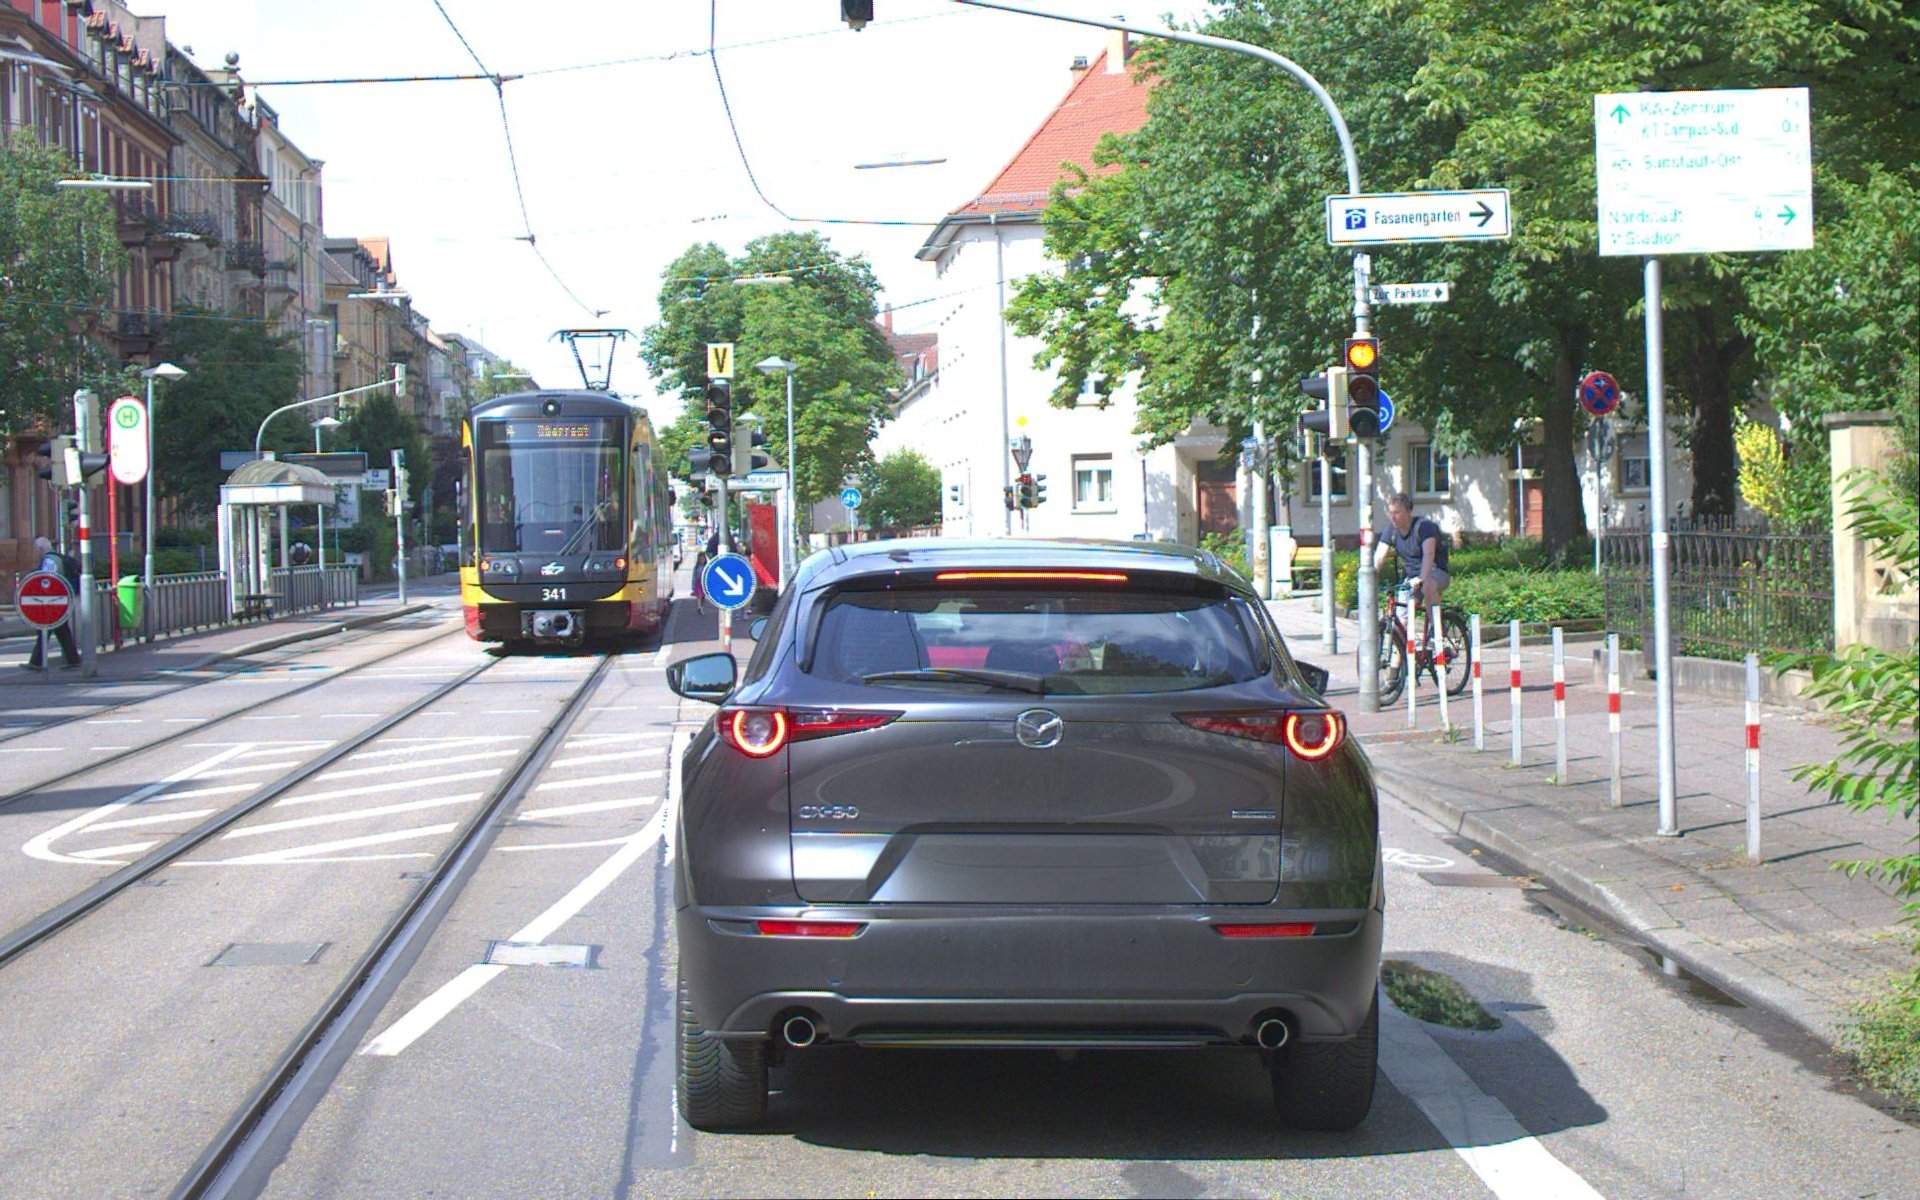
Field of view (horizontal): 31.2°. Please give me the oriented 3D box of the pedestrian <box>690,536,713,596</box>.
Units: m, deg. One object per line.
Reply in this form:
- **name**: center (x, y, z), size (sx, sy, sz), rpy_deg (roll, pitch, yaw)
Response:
- **pedestrian**: center (-4.592, -0.605, 61.086), size (0.379, 1.067, 0.474), rpy_deg (-1, 1, -4)

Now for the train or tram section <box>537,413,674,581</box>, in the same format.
- **train or tram section**: center (-8.057, -2.422, 79.556), size (2.752, 3.478, 14.411), rpy_deg (-1, 2, -5)

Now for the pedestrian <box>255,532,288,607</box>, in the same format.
- **pedestrian**: center (-12.919, -0.571, 64.487), size (0.429, 1.394, 0.398), rpy_deg (-1, 1, 30)

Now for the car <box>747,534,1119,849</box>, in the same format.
- **car**: center (-0.168, 0.405, 18.651), size (1.778, 1.494, 4.000), rpy_deg (1, 1, -1)

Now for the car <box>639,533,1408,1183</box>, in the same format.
- **car**: center (0.112, 0.567, 10.046), size (1.778, 1.494, 4.000), rpy_deg (1, 1, -1)

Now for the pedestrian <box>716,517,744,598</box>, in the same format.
- **pedestrian**: center (-4.101, -0.752, 61.297), size (0.450, 1.429, 0.474), rpy_deg (-1, 1, -5)

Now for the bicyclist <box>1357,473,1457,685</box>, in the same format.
- **bicyclist**: center (3.817, -0.183, 29.350), size (0.657, 1.786, 0.609), rpy_deg (-1, 1, 27)

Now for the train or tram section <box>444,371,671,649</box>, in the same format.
- **train or tram section**: center (-5.703, -1.405, 50.825), size (2.752, 3.478, 14.411), rpy_deg (-1, 2, -5)

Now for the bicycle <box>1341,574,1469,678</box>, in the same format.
- **bicycle**: center (3.798, 0.208, 29.261), size (0.493, 0.821, 1.696), rpy_deg (-1, 1, 28)

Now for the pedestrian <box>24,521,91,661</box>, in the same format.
- **pedestrian**: center (-11.169, -0.114, 42.583), size (0.716, 1.699, 0.824), rpy_deg (-1, 1, -11)

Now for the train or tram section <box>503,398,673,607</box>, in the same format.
- **train or tram section**: center (-6.868, -1.907, 65.177), size (2.752, 3.478, 14.411), rpy_deg (-1, 2, -5)
